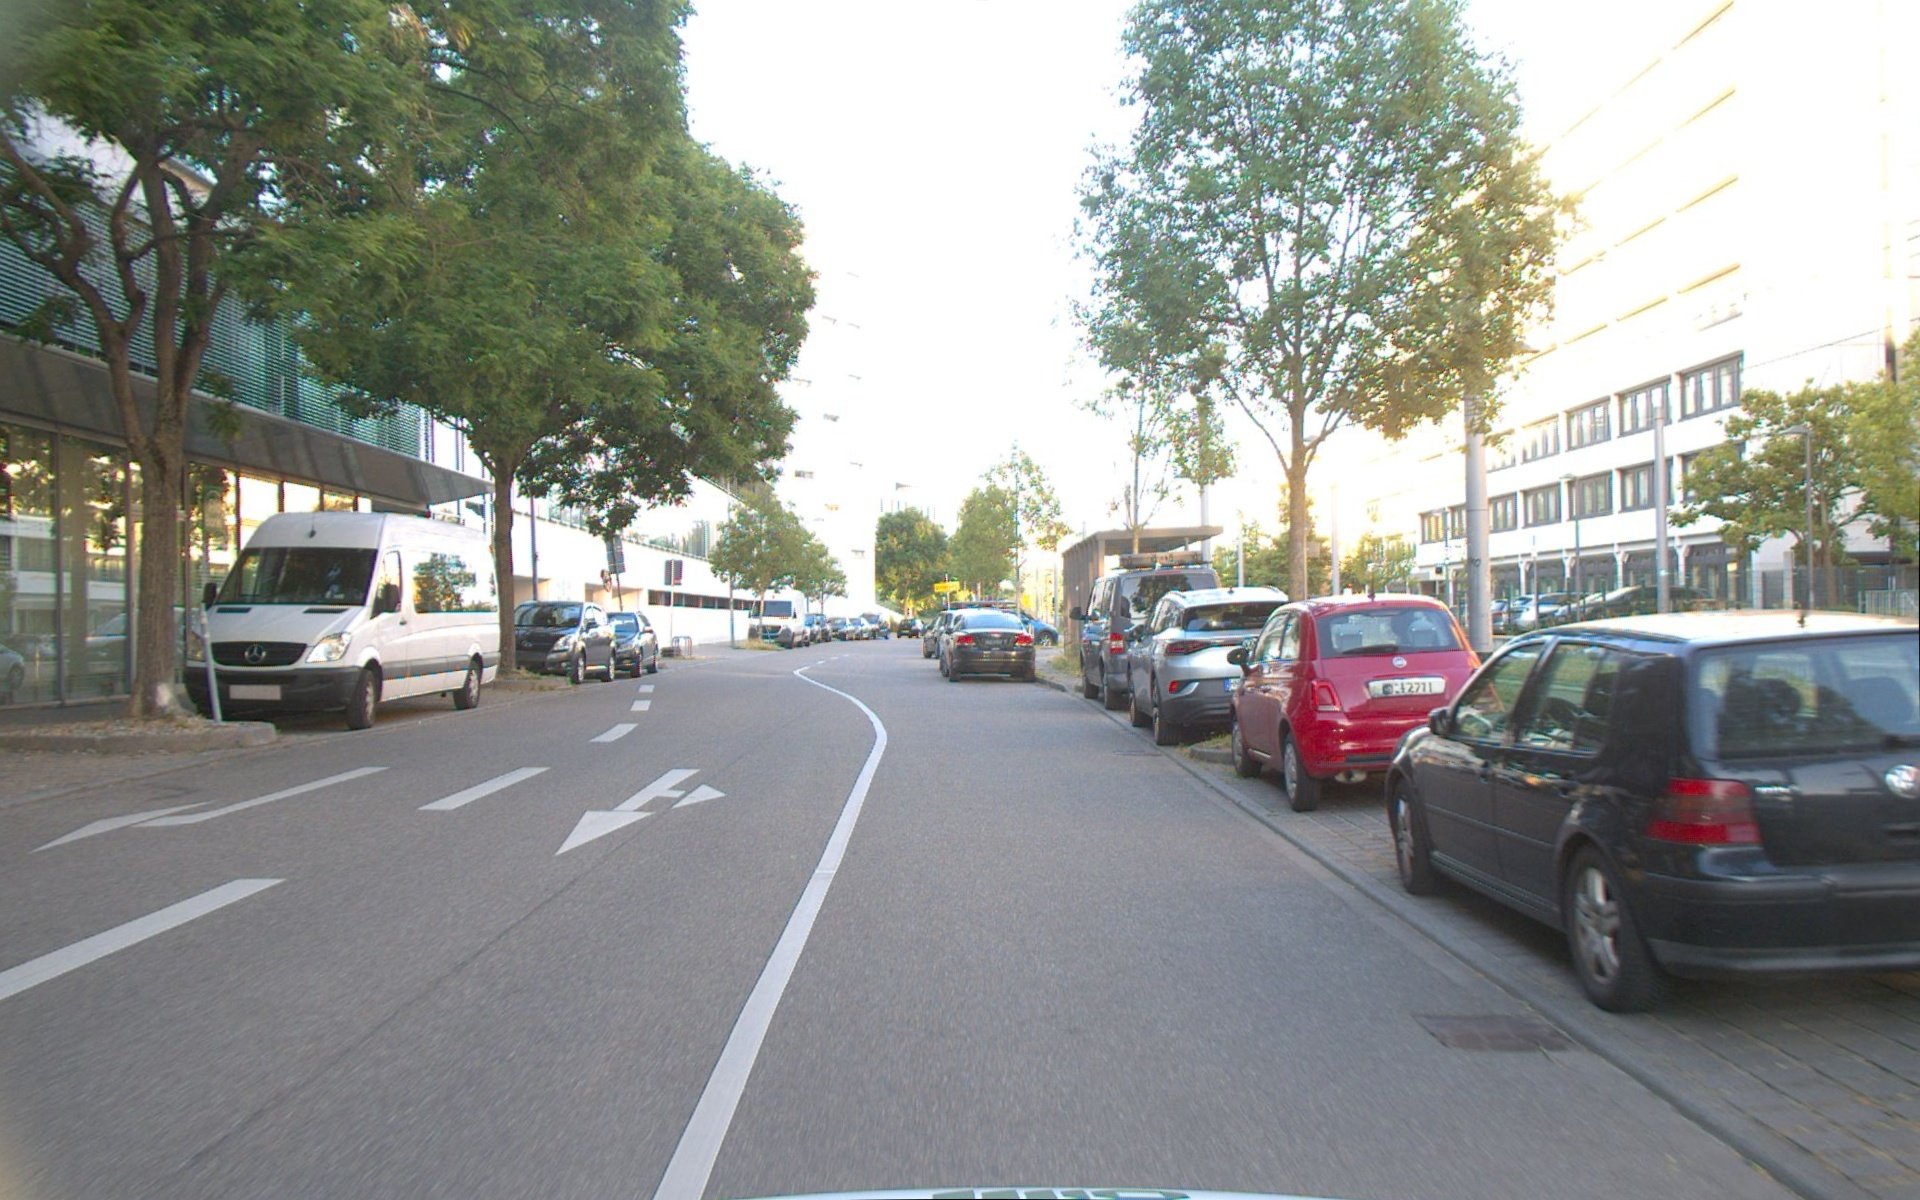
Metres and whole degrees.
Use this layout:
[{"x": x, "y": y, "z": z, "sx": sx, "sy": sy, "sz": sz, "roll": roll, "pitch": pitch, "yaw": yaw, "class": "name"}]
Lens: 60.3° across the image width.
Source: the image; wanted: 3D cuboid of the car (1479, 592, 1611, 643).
[{"x": 20.217, "y": 0.604, "z": 57.209, "sx": 3.906, "sy": 1.513, "sz": 1.675, "roll": -3, "pitch": -1, "yaw": 0, "class": "car"}]

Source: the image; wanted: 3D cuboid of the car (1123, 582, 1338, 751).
[{"x": 2.924, "y": 0.687, "z": 18.775, "sx": 1.672, "sy": 1.608, "sz": 4.479, "roll": -3, "pitch": -1, "yaw": 0, "class": "car"}]

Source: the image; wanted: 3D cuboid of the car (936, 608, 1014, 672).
[{"x": 0.327, "y": 0.975, "z": 40.977, "sx": 1.643, "sy": 1.477, "sz": 4.184, "roll": -1, "pitch": -1, "yaw": -4, "class": "car"}]

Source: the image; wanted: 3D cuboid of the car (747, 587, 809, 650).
[{"x": -8.105, "y": 0.806, "z": 74.301, "sx": 1.918, "sy": 2.663, "sz": 6.892, "roll": 1, "pitch": 0, "yaw": 1, "class": "car"}]

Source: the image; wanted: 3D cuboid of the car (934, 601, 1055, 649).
[{"x": 1.232, "y": 0.885, "z": 58.644, "sx": 3.956, "sy": 1.547, "sz": 1.903, "roll": -1, "pitch": -2, "yaw": -36, "class": "car"}]

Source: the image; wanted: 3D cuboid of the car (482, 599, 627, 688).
[{"x": -7.806, "y": 0.804, "z": 32.237, "sx": 1.806, "sy": 1.599, "sz": 4.266, "roll": -1, "pitch": 0, "yaw": -1, "class": "car"}]

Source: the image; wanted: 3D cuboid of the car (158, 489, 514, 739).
[{"x": -7.784, "y": 0.178, "z": 21.610, "sx": 2.057, "sy": 2.710, "sz": 6.950, "roll": -1, "pitch": 0, "yaw": -1, "class": "car"}]

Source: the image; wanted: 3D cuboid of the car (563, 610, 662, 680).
[{"x": -7.873, "y": 0.976, "z": 37.794, "sx": 1.681, "sy": 1.477, "sz": 4.394, "roll": -1, "pitch": 0, "yaw": -5, "class": "car"}]

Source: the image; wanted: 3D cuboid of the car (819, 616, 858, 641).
[{"x": -7.623, "y": 1.764, "z": 103.879, "sx": 1.686, "sy": 1.483, "sz": 4.274, "roll": 1, "pitch": 0, "yaw": 6, "class": "car"}]

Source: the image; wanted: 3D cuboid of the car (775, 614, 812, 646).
[{"x": -8.068, "y": 1.456, "z": 80.539, "sx": 1.722, "sy": 1.465, "sz": 3.897, "roll": 1, "pitch": 0, "yaw": -5, "class": "car"}]

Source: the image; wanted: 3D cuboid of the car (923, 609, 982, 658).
[{"x": -0.262, "y": 1.074, "z": 52.779, "sx": 1.696, "sy": 1.492, "sz": 3.997, "roll": 1, "pitch": -1, "yaw": -3, "class": "car"}]

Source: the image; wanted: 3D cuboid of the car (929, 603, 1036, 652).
[{"x": 1.006, "y": 1.215, "z": 73.075, "sx": 4.549, "sy": 2.071, "sz": 1.849, "roll": 1, "pitch": -1, "yaw": -35, "class": "car"}]

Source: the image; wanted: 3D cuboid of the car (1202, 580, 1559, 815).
[{"x": 3.168, "y": 0.687, "z": 13.326, "sx": 1.673, "sy": 1.519, "sz": 4.129, "roll": -3, "pitch": -1, "yaw": -2, "class": "car"}]

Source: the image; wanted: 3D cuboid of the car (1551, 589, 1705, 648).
[{"x": 20.134, "y": 0.553, "z": 49.970, "sx": 3.906, "sy": 1.513, "sz": 1.675, "roll": -3, "pitch": -1, "yaw": 0, "class": "car"}]

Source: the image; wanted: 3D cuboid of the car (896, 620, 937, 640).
[{"x": -3.263, "y": 2.263, "z": 124.980, "sx": 1.903, "sy": 1.407, "sz": 4.402, "roll": 1, "pitch": 0, "yaw": 15, "class": "car"}]

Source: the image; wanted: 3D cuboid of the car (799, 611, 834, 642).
[{"x": -8.275, "y": 1.520, "z": 95.700, "sx": 1.720, "sy": 1.682, "sz": 3.947, "roll": 1, "pitch": 0, "yaw": -1, "class": "car"}]

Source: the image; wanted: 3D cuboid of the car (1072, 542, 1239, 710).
[{"x": 2.840, "y": 0.386, "z": 25.037, "sx": 1.768, "sy": 2.214, "sz": 4.734, "roll": -3, "pitch": -1, "yaw": -2, "class": "car"}]

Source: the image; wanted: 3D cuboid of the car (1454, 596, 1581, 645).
[{"x": 20.165, "y": 0.732, "z": 59.946, "sx": 3.907, "sy": 1.540, "sz": 1.823, "roll": -3, "pitch": 0, "yaw": -2, "class": "car"}]

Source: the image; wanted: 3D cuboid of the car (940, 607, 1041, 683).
[{"x": 0.578, "y": 0.915, "z": 35.084, "sx": 1.752, "sy": 1.477, "sz": 4.512, "roll": -1, "pitch": 0, "yaw": -4, "class": "car"}]

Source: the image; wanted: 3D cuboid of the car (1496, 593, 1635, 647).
[{"x": 20.014, "y": 0.670, "z": 54.742, "sx": 3.906, "sy": 1.513, "sz": 1.675, "roll": -3, "pitch": -1, "yaw": 0, "class": "car"}]

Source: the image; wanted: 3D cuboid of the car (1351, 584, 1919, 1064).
[{"x": 3.113, "y": 0.723, "z": 7.304, "sx": 1.673, "sy": 1.477, "sz": 3.998, "roll": -3, "pitch": -1, "yaw": -2, "class": "car"}]

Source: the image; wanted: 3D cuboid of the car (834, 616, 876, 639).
[{"x": -6.921, "y": 1.790, "z": 109.478, "sx": 1.685, "sy": 1.483, "sz": 4.697, "roll": 1, "pitch": 0, "yaw": 10, "class": "car"}]
